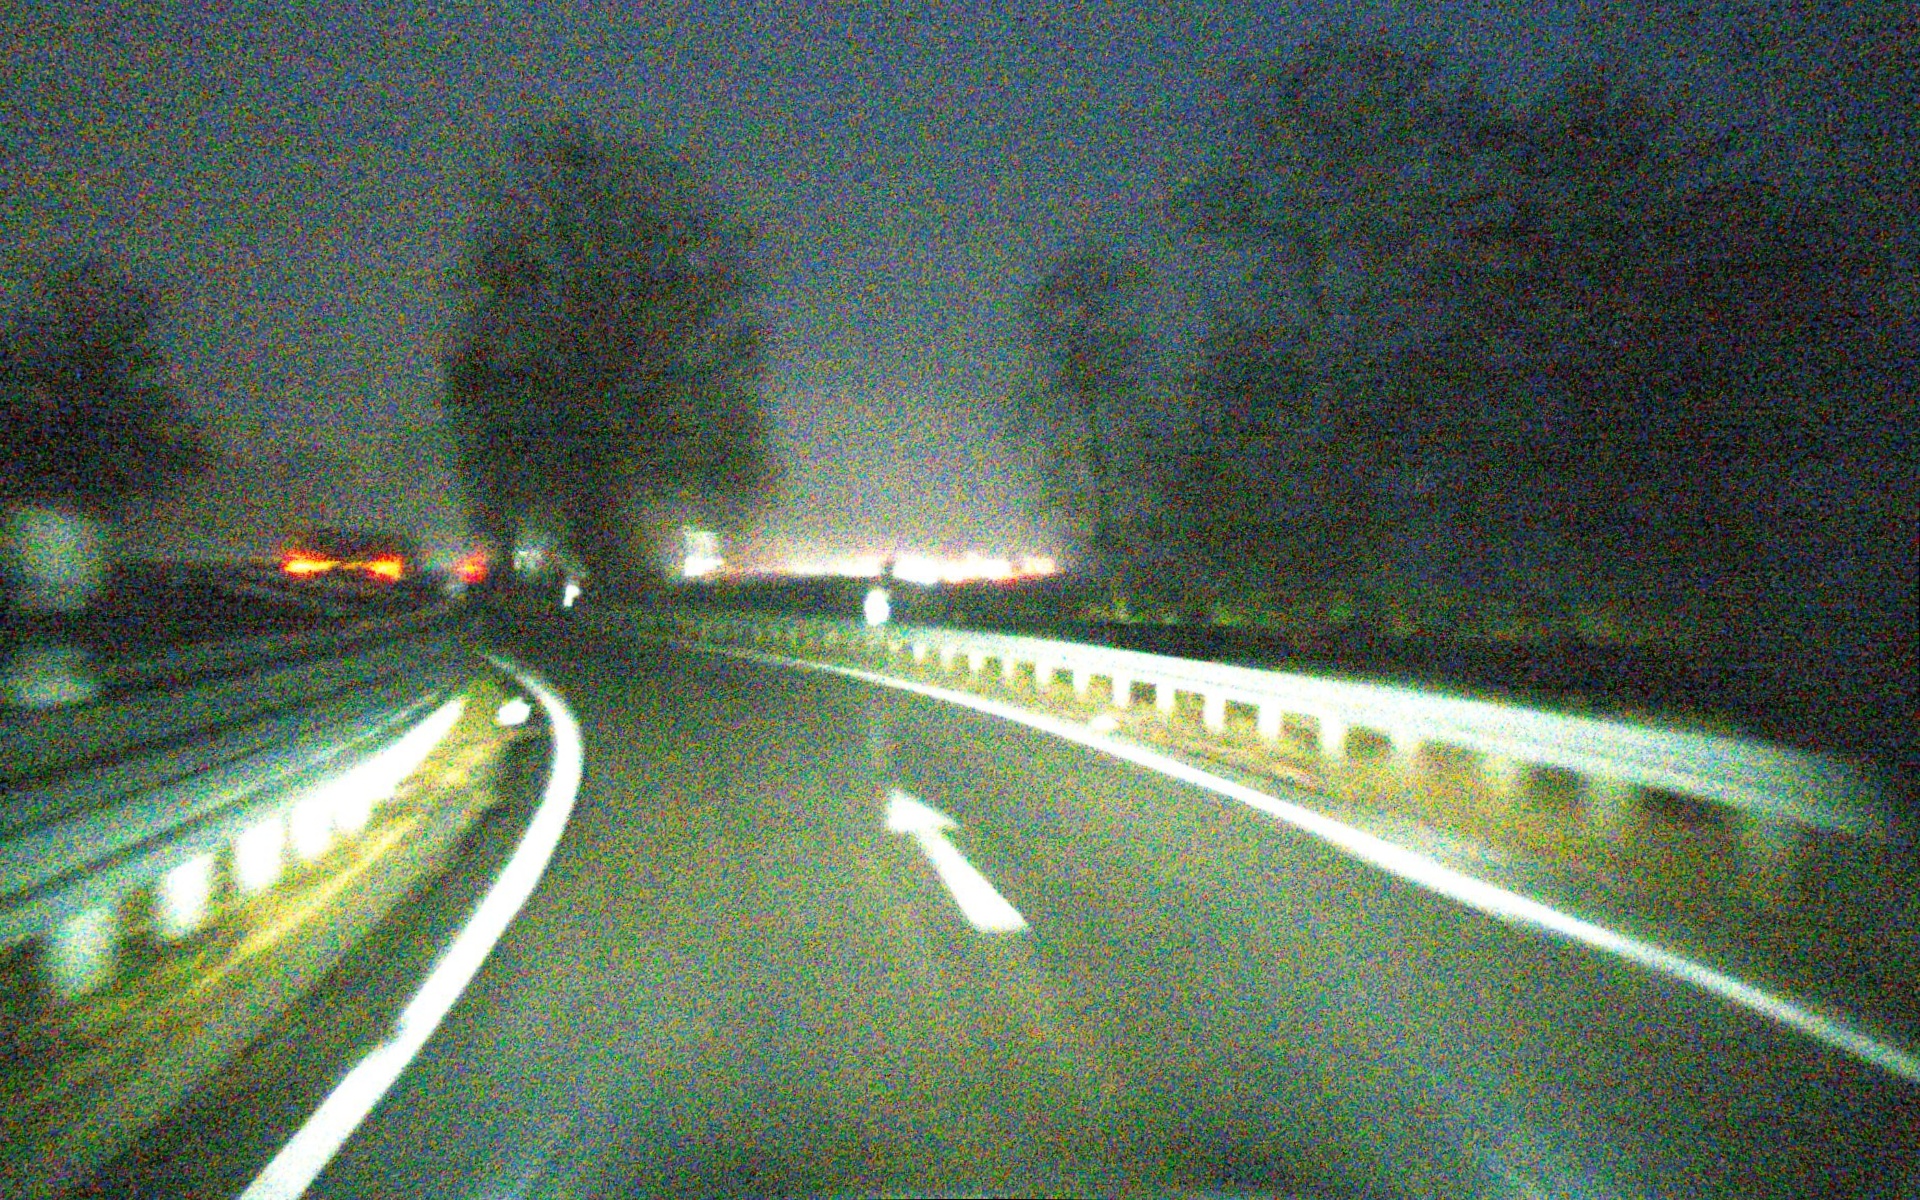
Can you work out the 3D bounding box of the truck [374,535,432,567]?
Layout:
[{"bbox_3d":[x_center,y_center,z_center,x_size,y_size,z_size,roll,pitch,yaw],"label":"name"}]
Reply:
[{"bbox_3d":[-52.815,-4.610,156.856,2.623,2.737,4.755,3,1,23],"label":"truck"}]

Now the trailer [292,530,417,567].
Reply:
[{"bbox_3d":[-55.137,-4.670,151.261,2.633,2.746,12.854,3,1,23],"label":"trailer"}]
